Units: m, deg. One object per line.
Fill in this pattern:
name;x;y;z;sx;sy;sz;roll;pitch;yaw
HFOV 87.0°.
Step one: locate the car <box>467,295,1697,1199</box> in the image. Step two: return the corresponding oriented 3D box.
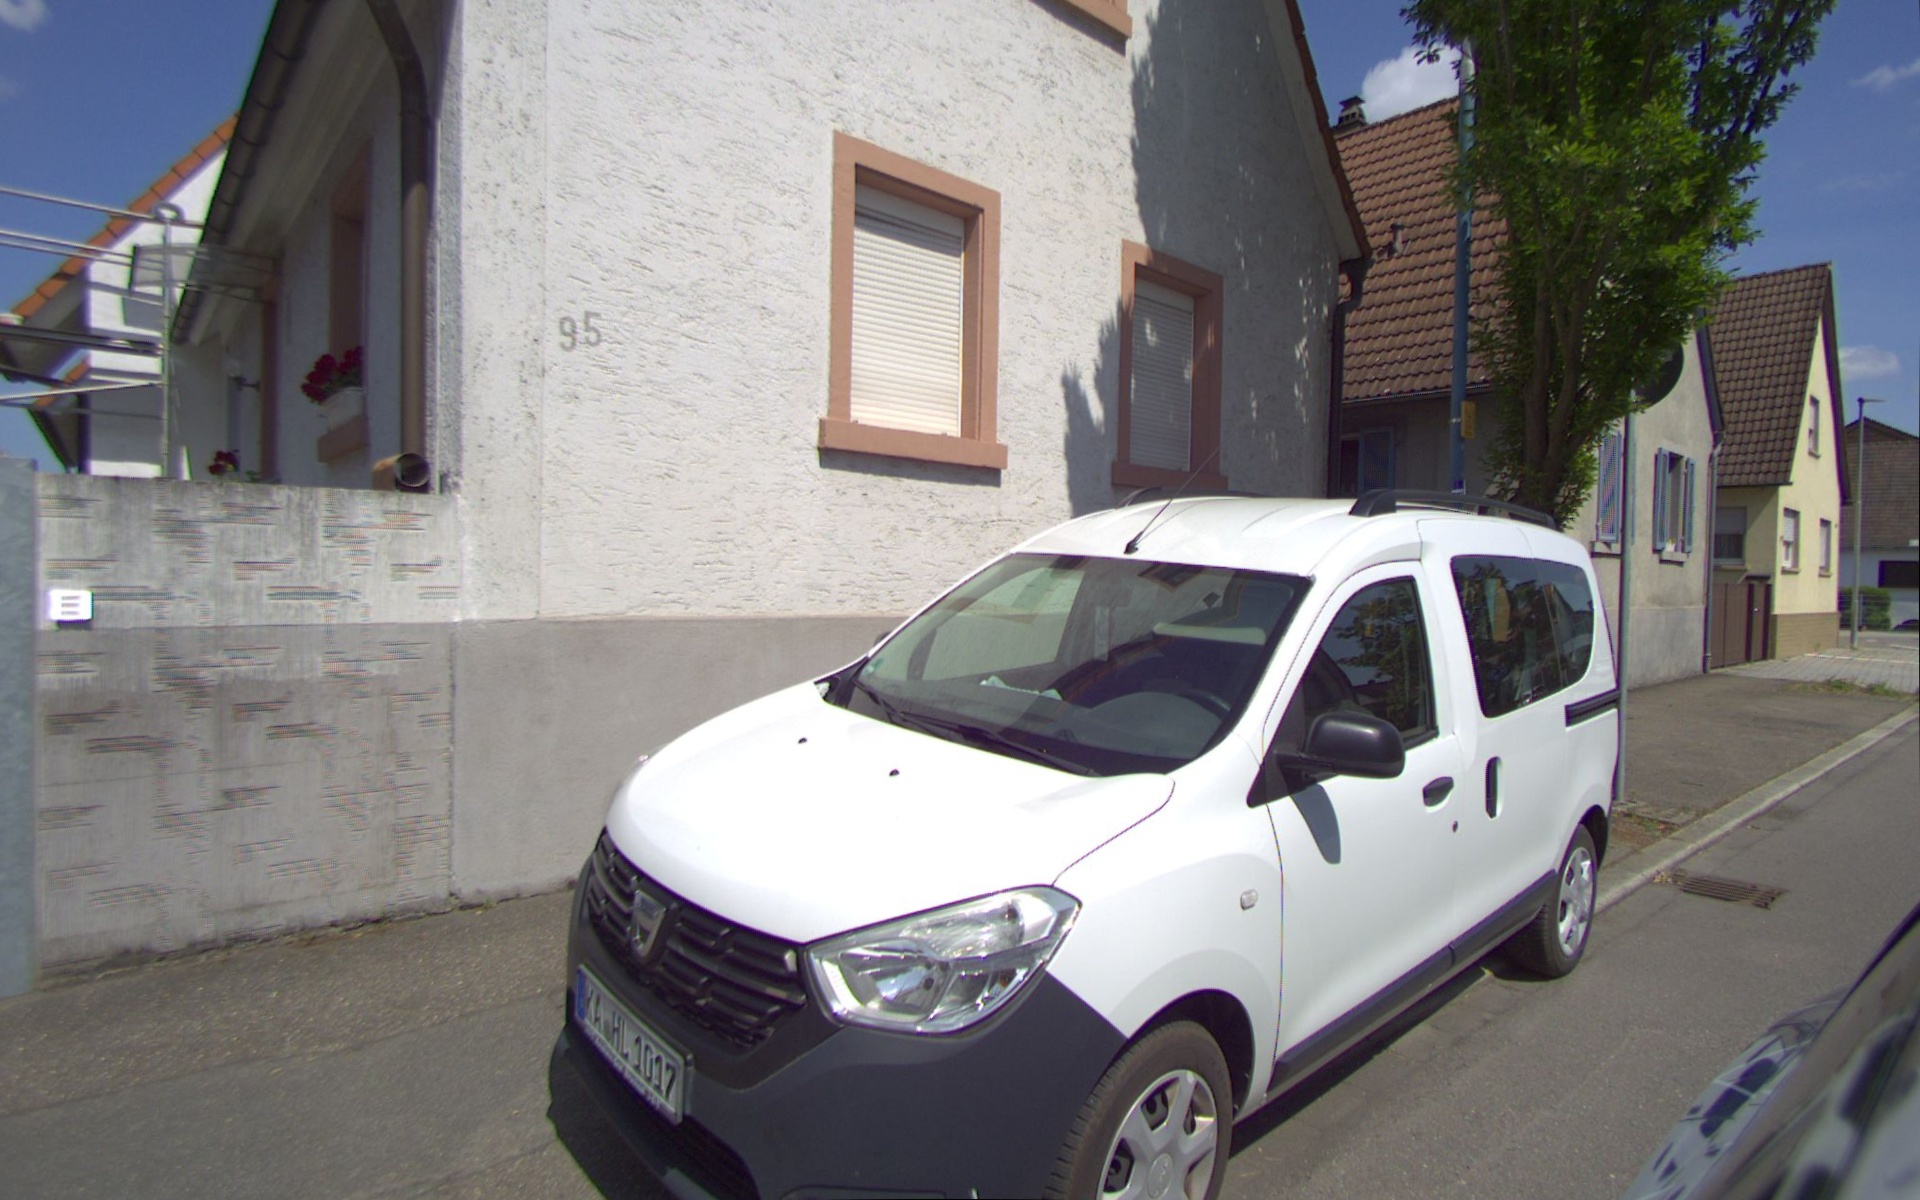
car;0.990;0.433;3.644;4.683;1.864;1.692;0;4;-42
